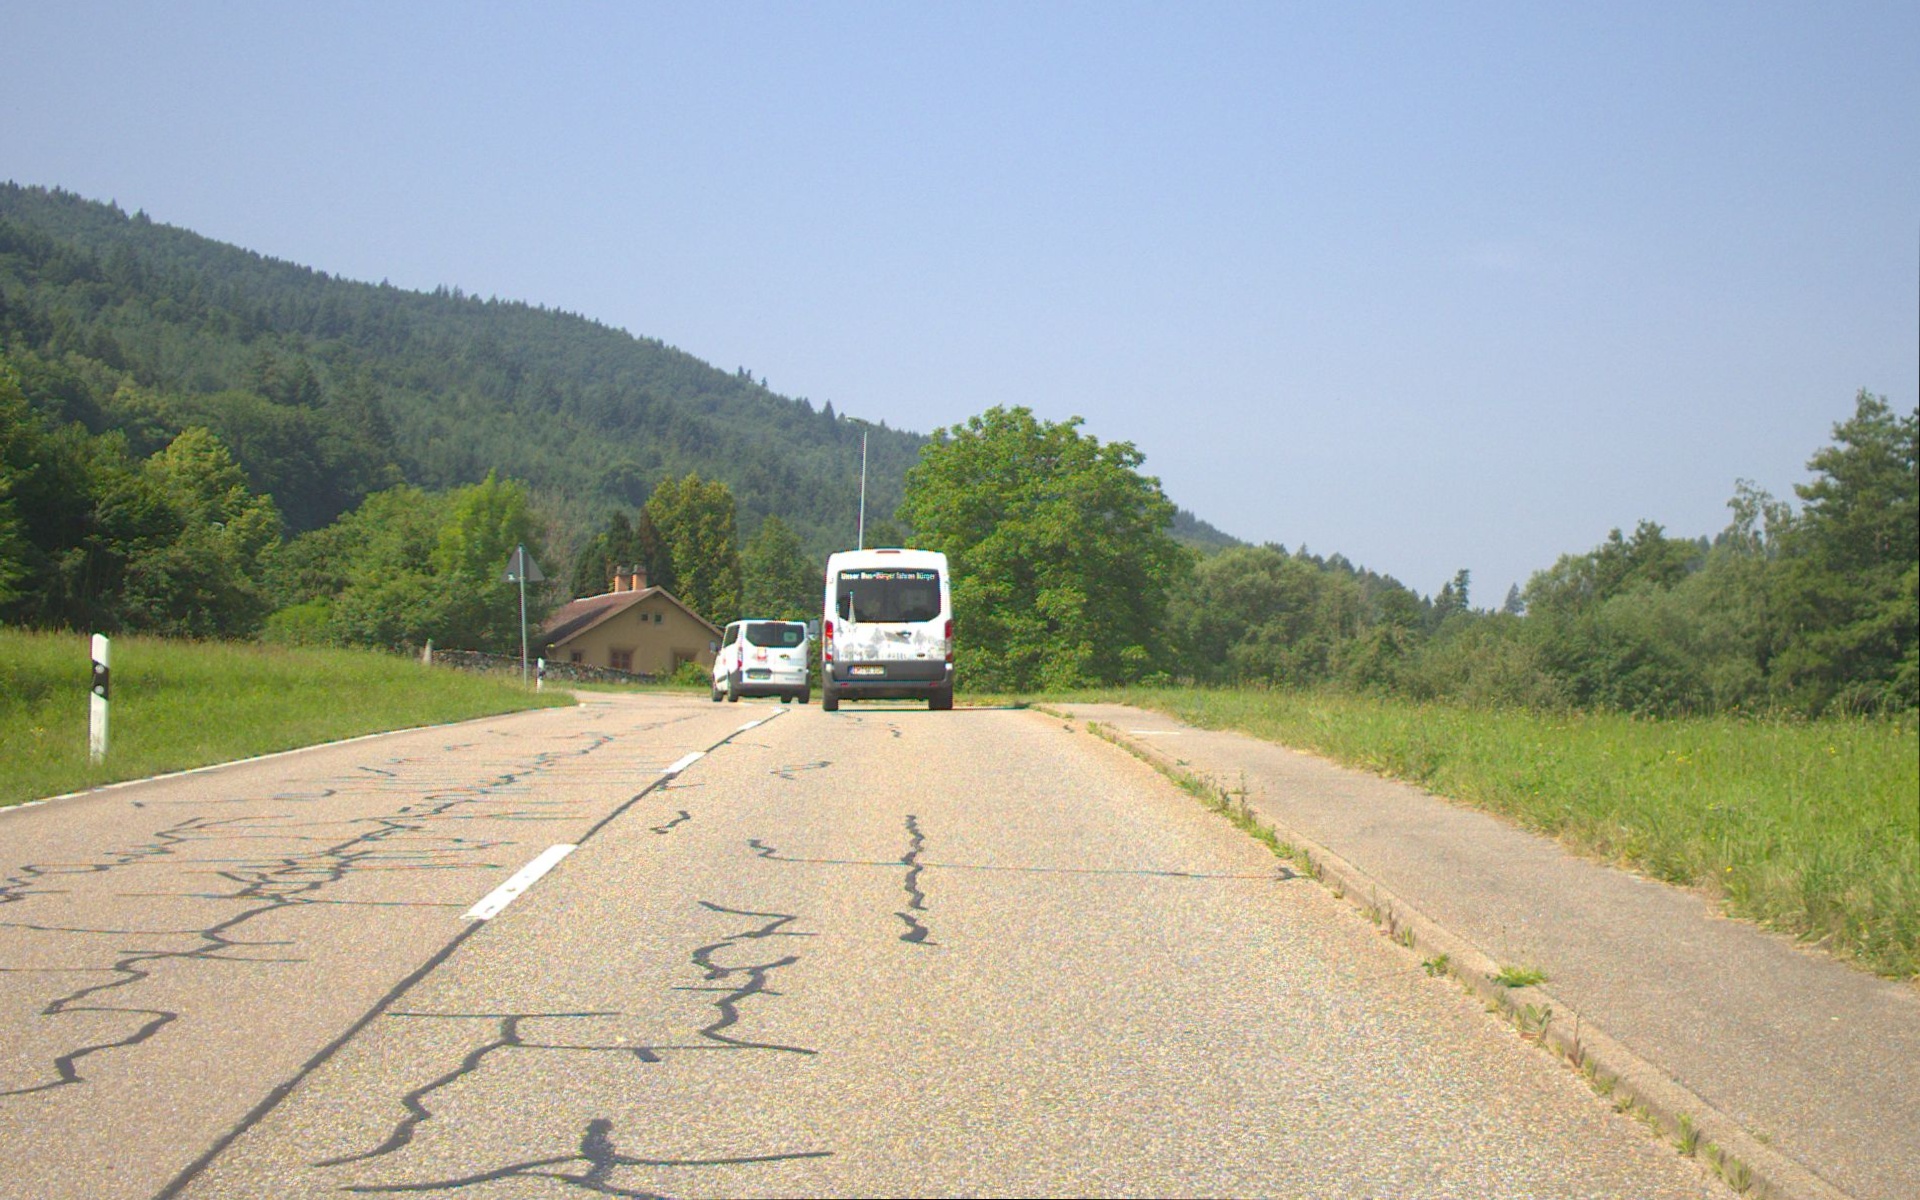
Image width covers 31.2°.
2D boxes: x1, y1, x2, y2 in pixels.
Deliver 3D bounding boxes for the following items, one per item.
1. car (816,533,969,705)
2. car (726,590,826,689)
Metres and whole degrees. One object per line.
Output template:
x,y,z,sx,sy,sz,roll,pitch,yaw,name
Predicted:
-1.066,0.334,54.307,2.222,2.517,4.984,-2,-1,-1,car
-4.561,0.994,84.470,2.222,2.279,4.985,-2,-1,-5,car
